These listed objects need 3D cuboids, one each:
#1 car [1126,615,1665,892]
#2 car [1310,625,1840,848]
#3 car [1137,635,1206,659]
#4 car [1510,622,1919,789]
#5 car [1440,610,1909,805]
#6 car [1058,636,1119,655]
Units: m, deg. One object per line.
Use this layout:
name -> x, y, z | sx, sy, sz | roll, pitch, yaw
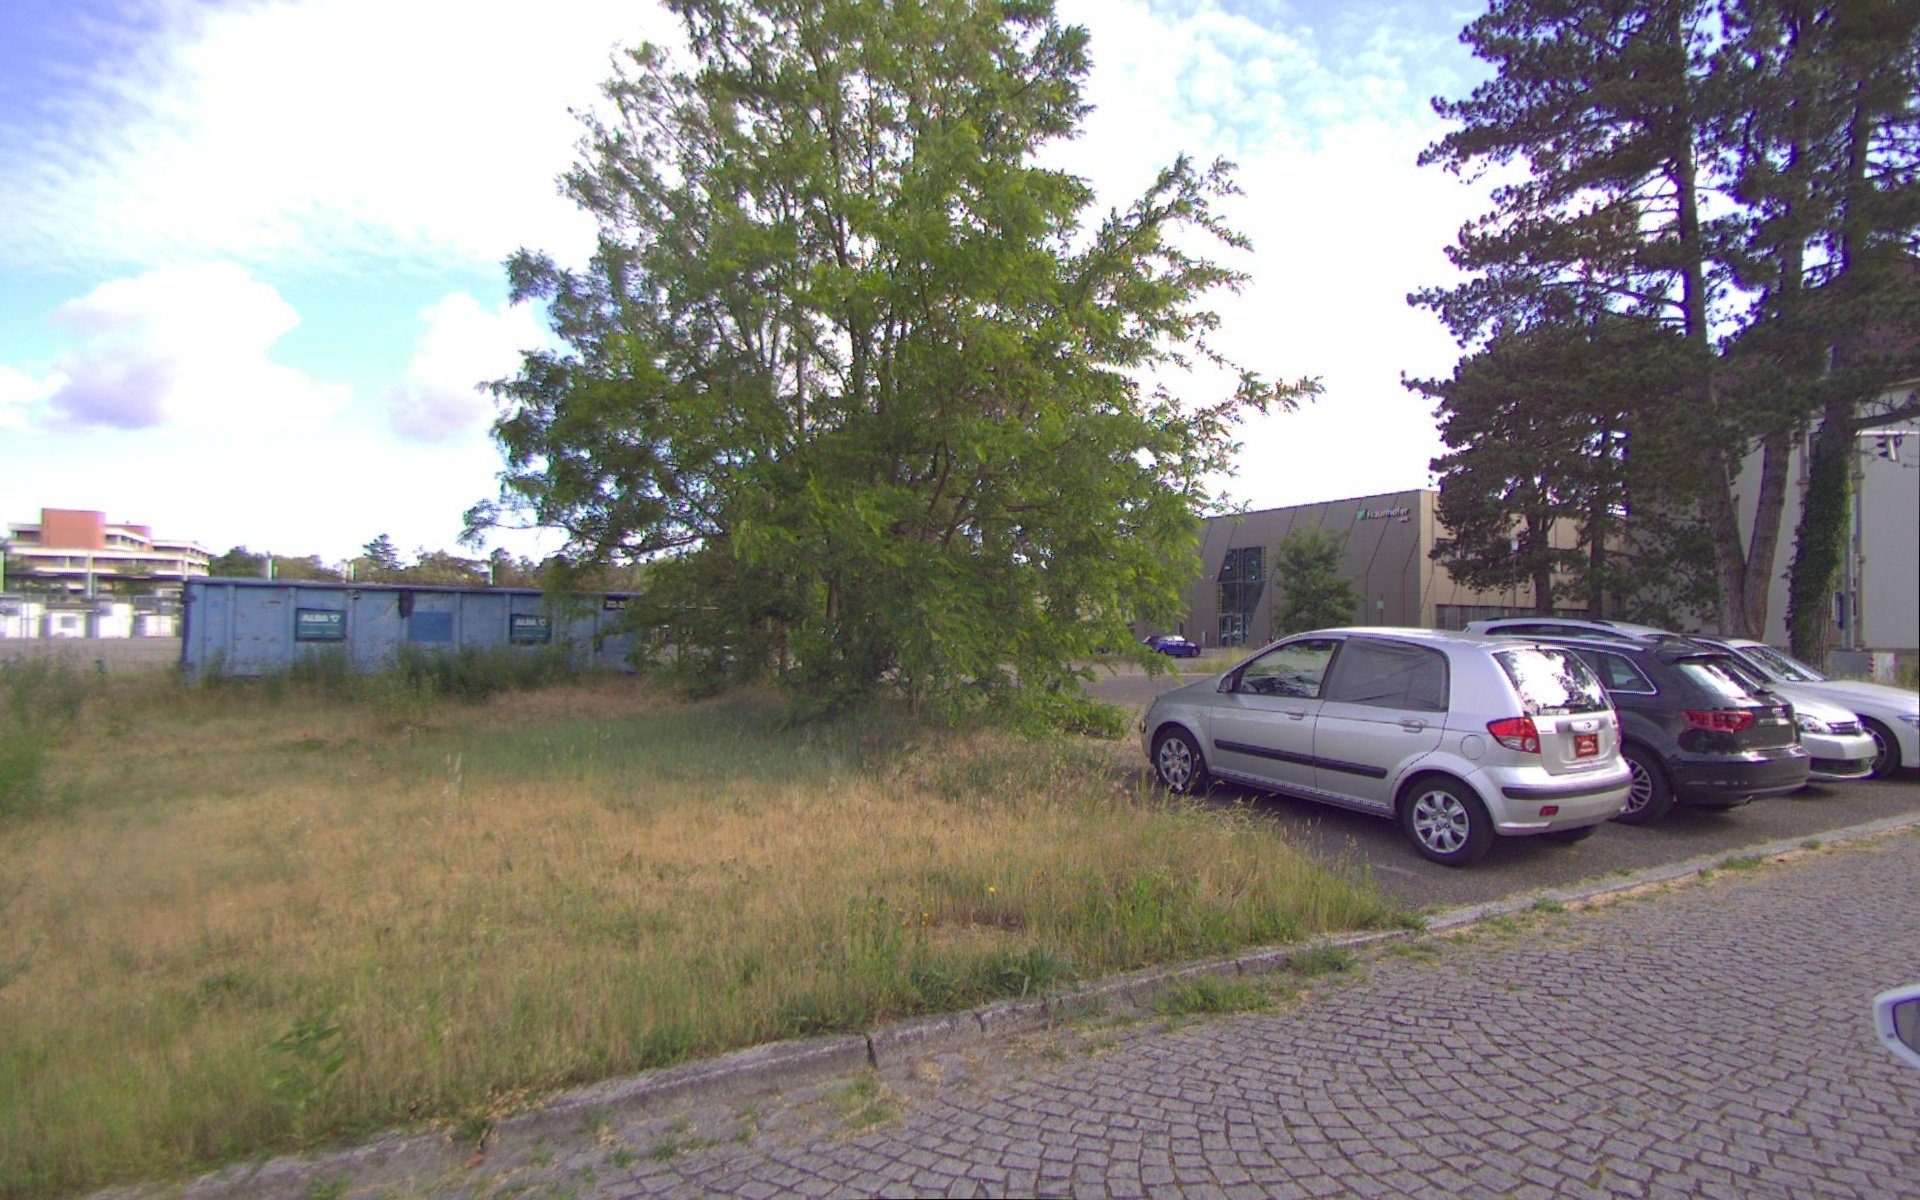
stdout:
car -> 3.120, 0.950, 7.867 | 1.629, 1.495, 3.557 | 2, 1, -32
car -> 5.345, 1.034, 9.261 | 1.675, 1.427, 3.817 | 1, 1, -30
car -> 13.414, 2.971, 63.622 | 4.078, 1.433, 1.752 | 1, -2, -27
car -> 9.526, 1.142, 12.409 | 1.810, 1.461, 4.451 | 1, 2, -33
car -> 7.559, 0.991, 11.008 | 1.716, 1.628, 3.810 | 1, 0, -32
car -> 9.167, 3.243, 71.714 | 4.143, 1.289, 1.600 | 1, -2, -27
